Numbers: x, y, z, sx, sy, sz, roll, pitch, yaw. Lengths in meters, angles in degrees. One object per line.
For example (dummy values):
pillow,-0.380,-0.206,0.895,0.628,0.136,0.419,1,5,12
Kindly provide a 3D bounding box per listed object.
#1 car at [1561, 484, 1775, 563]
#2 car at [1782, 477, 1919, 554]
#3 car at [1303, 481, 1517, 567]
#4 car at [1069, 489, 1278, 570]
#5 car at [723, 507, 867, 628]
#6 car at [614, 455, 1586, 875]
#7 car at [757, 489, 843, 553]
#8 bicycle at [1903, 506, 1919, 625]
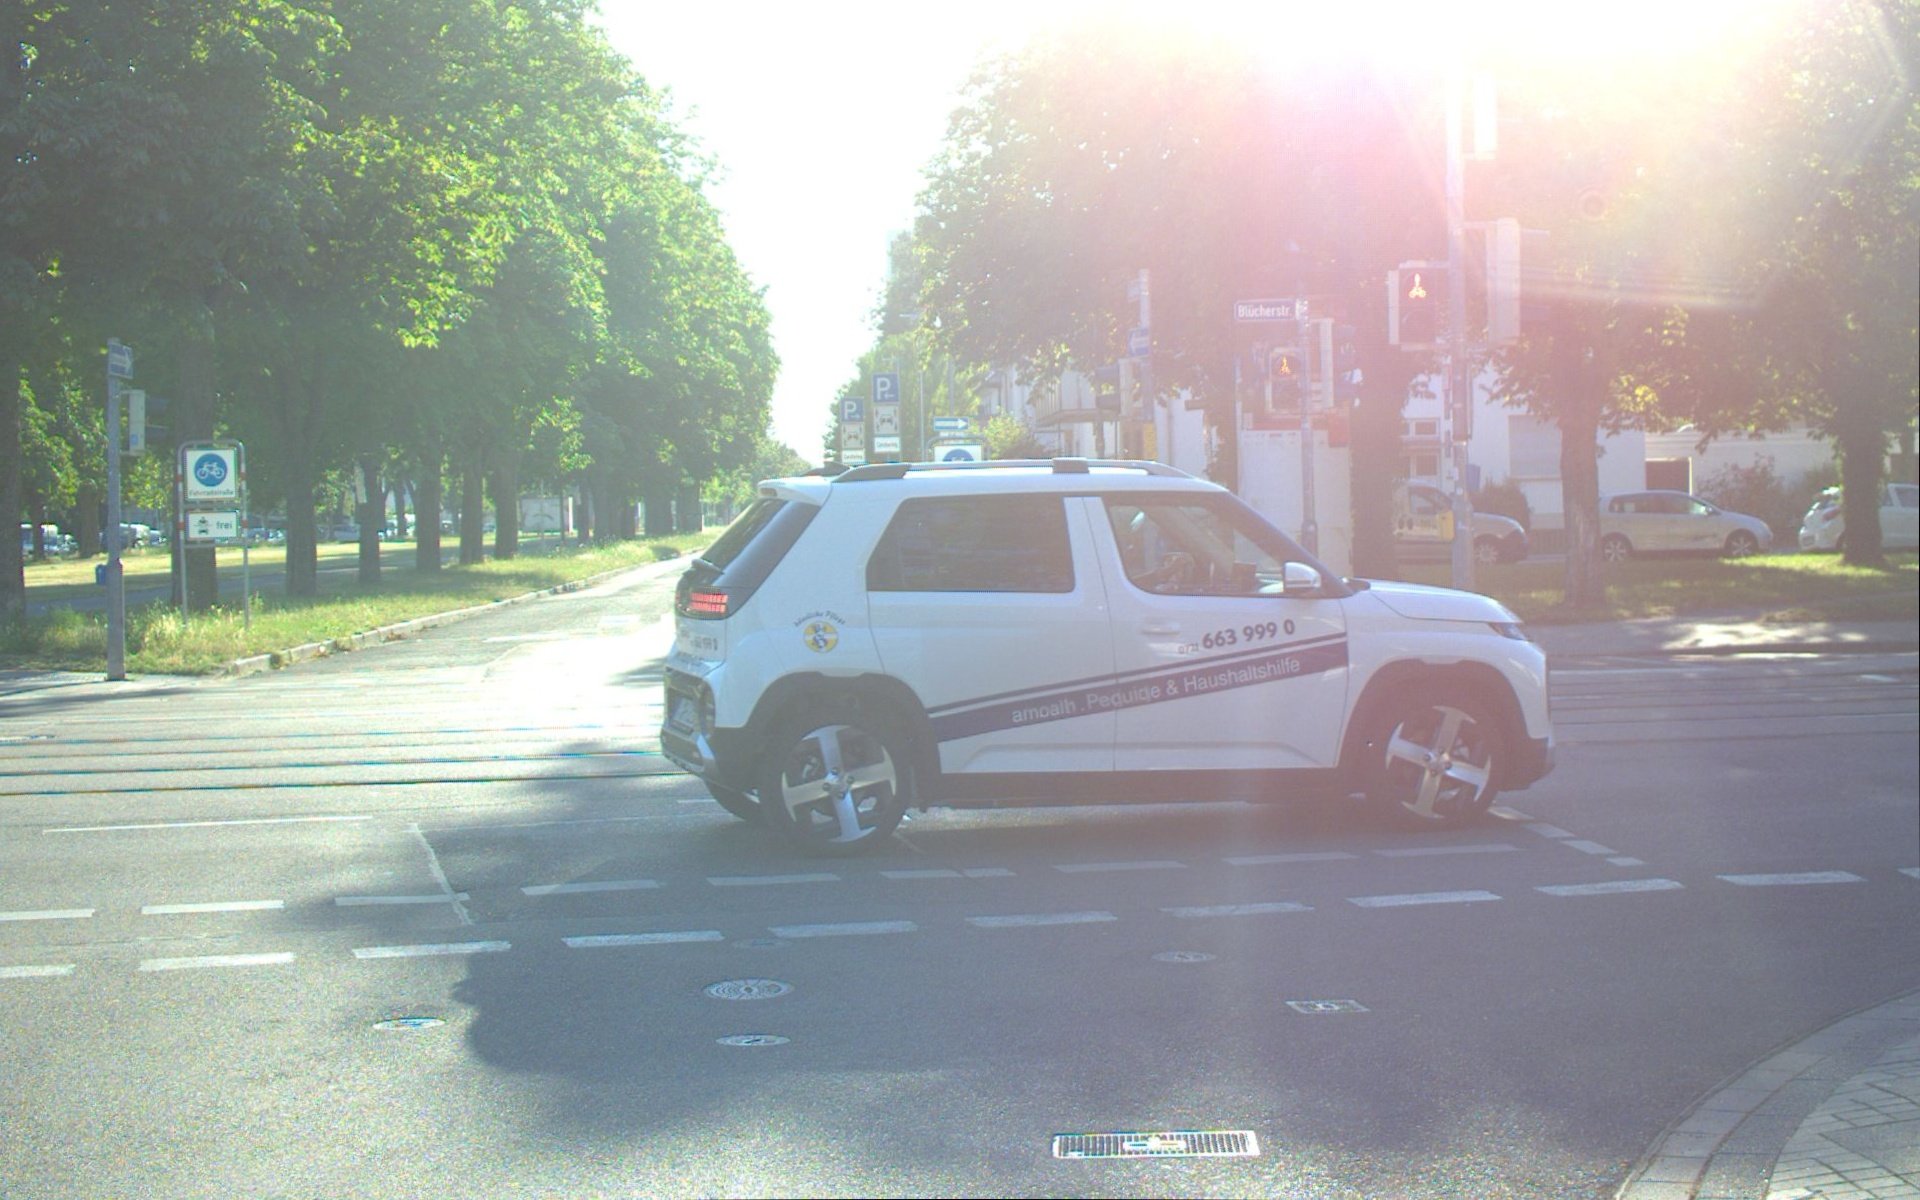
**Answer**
car,13.420,-1.460,65.240,3.662,1.422,1.532,-1,1,-6
car,17.921,-1.632,66.011,3.844,1.422,1.598,-1,1,-6
car,8.516,-1.448,65.295,3.779,1.520,1.744,-1,3,-2
car,4.010,-1.345,64.970,3.779,1.422,1.744,-1,3,-2
car,-2.072,-0.446,43.869,1.641,1.446,3.307,-1,2,0
car,0.562,0.207,14.810,3.863,1.546,1.613,-2,3,-13
car,-3.600,-1.802,77.920,1.845,1.389,3.829,-1,2,-1
bicycle,10.076,-0.351,32.840,1.954,1.128,0.620,-1,1,1
